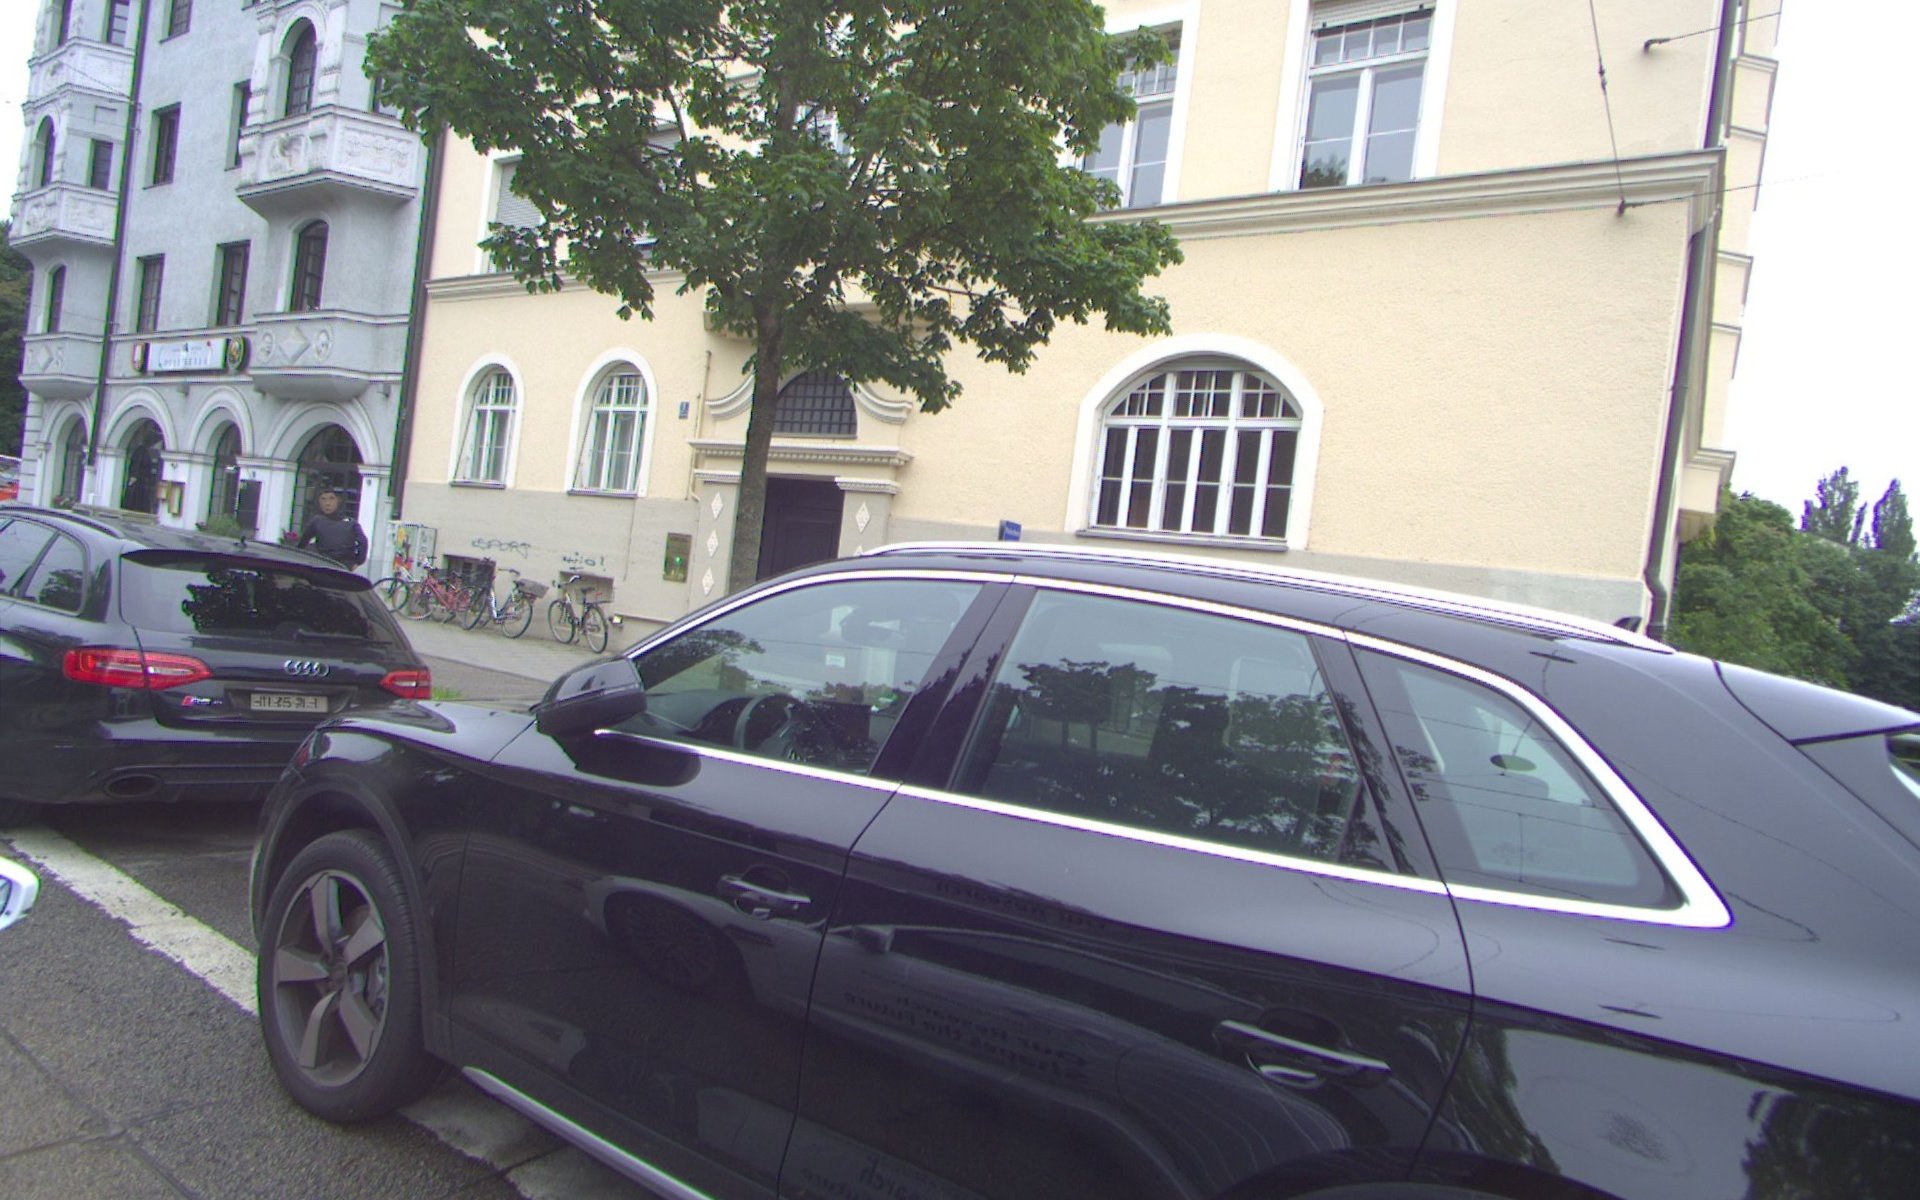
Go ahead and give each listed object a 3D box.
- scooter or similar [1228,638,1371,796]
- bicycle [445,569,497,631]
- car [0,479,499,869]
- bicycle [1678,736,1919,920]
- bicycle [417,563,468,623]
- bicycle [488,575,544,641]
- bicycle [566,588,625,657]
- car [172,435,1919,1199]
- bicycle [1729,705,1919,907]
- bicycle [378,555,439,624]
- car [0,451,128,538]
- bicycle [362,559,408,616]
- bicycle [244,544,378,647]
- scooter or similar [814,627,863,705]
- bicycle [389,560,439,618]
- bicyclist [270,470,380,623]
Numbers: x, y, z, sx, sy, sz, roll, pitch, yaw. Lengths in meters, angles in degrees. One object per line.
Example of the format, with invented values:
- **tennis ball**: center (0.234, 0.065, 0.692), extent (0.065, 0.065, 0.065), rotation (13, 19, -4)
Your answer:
- **scooter or similar**: center (3.236, 1.097, 9.615), extent (1.121, 1.328, 0.262), rotation (7, -1, 24)
- **bicycle**: center (-8.243, -0.008, 16.959), extent (0.871, 0.941, 0.273), rotation (7, -1, 33)
- **car**: center (-4.866, 0.160, 5.709), extent (4.525, 1.442, 1.720), rotation (7, -2, 31)
- **bicycle**: center (6.561, 1.741, 7.852), extent (1.417, 1.119, 0.287), rotation (7, 0, 24)
- **bicycle**: center (-9.014, -0.120, 17.514), extent (0.871, 0.941, 0.306), rotation (7, -1, 34)
- **bicycle**: center (-7.165, 0.125, 16.217), extent (0.871, 0.941, 0.285), rotation (7, -1, 33)
- **bicycle**: center (-5.526, 0.335, 15.253), extent (0.871, 0.941, 0.222), rotation (7, -1, 31)
- **car**: center (0.118, 0.656, 2.512), extent (4.414, 1.677, 1.777), rotation (7, -2, 32)
- **bicycle**: center (6.952, 1.582, 7.724), extent (1.511, 1.327, 0.332), rotation (7, -1, 30)
- **bicycle**: center (-9.525, -0.187, 17.372), extent (1.203, 1.051, 0.242), rotation (7, -1, 32)
- **car**: center (-36.405, -4.236, 39.348), extent (2.192, 2.642, 5.311), rotation (7, -2, 29)
- **bicycle**: center (-10.582, -0.236, 18.524), extent (0.871, 0.941, 0.259), rotation (7, -1, 33)
- **bicycle**: center (-8.157, -0.068, 12.624), extent (1.880, 1.093, 0.579), rotation (7, 2, 31)
- **scooter or similar**: center (-1.528, 0.830, 12.709), extent (0.413, 0.921, 0.348), rotation (8, -1, 11)
- **bicycle**: center (-9.796, -0.197, 18.040), extent (0.871, 0.941, 0.291), rotation (7, -1, 33)
- **bicyclist**: center (-7.903, -0.658, 12.535), extent (0.714, 1.749, 0.726), rotation (7, -1, 31)
